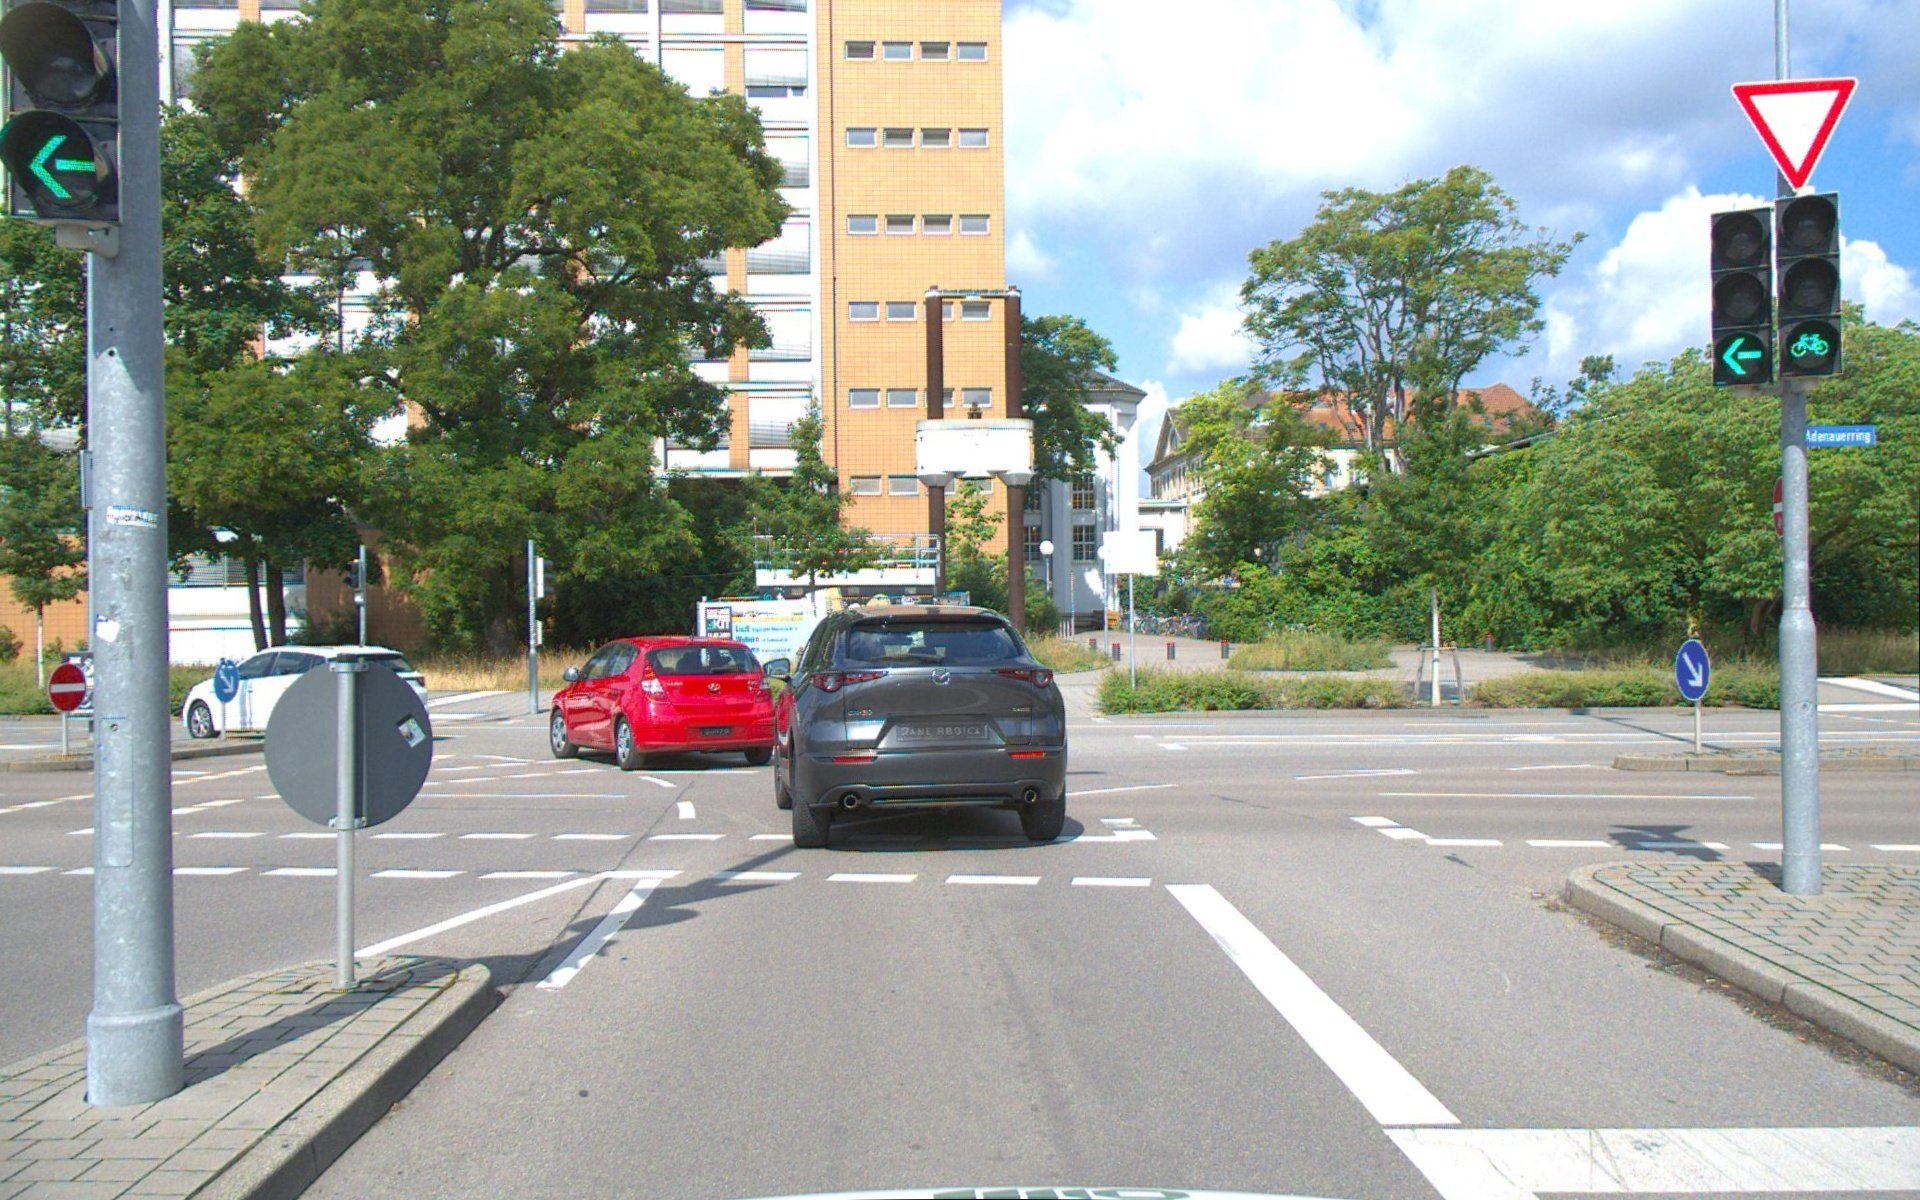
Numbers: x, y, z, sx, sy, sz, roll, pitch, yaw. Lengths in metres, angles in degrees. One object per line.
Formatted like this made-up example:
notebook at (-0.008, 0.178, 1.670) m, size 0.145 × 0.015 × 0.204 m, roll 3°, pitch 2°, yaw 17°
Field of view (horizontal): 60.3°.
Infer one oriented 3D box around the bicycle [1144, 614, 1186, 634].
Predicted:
bicycle at (10.367, 1.216, 83.777) m, size 2.014 × 0.953 × 0.803 m, roll -1°, pitch -1°, yaw -3°

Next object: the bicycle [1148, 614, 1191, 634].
bicycle at (10.473, 1.215, 82.784) m, size 2.014 × 0.953 × 0.803 m, roll -1°, pitch -1°, yaw -3°

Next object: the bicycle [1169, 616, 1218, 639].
bicycle at (10.413, 1.229, 73.746) m, size 2.014 × 0.953 × 0.803 m, roll -1°, pitch -1°, yaw -3°

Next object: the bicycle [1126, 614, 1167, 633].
bicycle at (9.851, 1.227, 87.498) m, size 2.014 × 0.953 × 0.803 m, roll -1°, pitch -1°, yaw -3°

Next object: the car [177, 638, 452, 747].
car at (-9.959, 1.375, 25.448) m, size 4.245 × 1.498 × 1.848 m, roll -2°, pitch 0°, yaw 34°

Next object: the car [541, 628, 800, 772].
car at (-3.551, 1.112, 19.700) m, size 1.797 × 1.465 × 4.027 m, roll -1°, pitch -1°, yaw -29°

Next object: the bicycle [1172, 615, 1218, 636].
bicycle at (11.061, 1.199, 77.986) m, size 2.014 × 0.953 × 0.803 m, roll -1°, pitch -1°, yaw -3°

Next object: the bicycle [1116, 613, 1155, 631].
bicycle at (9.789, 1.251, 92.356) m, size 2.014 × 0.953 × 0.803 m, roll -1°, pitch -1°, yaw -3°

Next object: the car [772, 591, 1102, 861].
car at (-0.359, 0.785, 11.861) m, size 1.773 × 1.534 × 4.196 m, roll -1°, pitch -1°, yaw -9°

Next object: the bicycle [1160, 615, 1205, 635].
bicycle at (10.685, 1.199, 79.310) m, size 2.014 × 0.953 × 0.803 m, roll -1°, pitch -1°, yaw -3°

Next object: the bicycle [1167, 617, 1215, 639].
bicycle at (10.516, 1.272, 75.325) m, size 2.014 × 0.953 × 0.803 m, roll -1°, pitch -1°, yaw -3°
